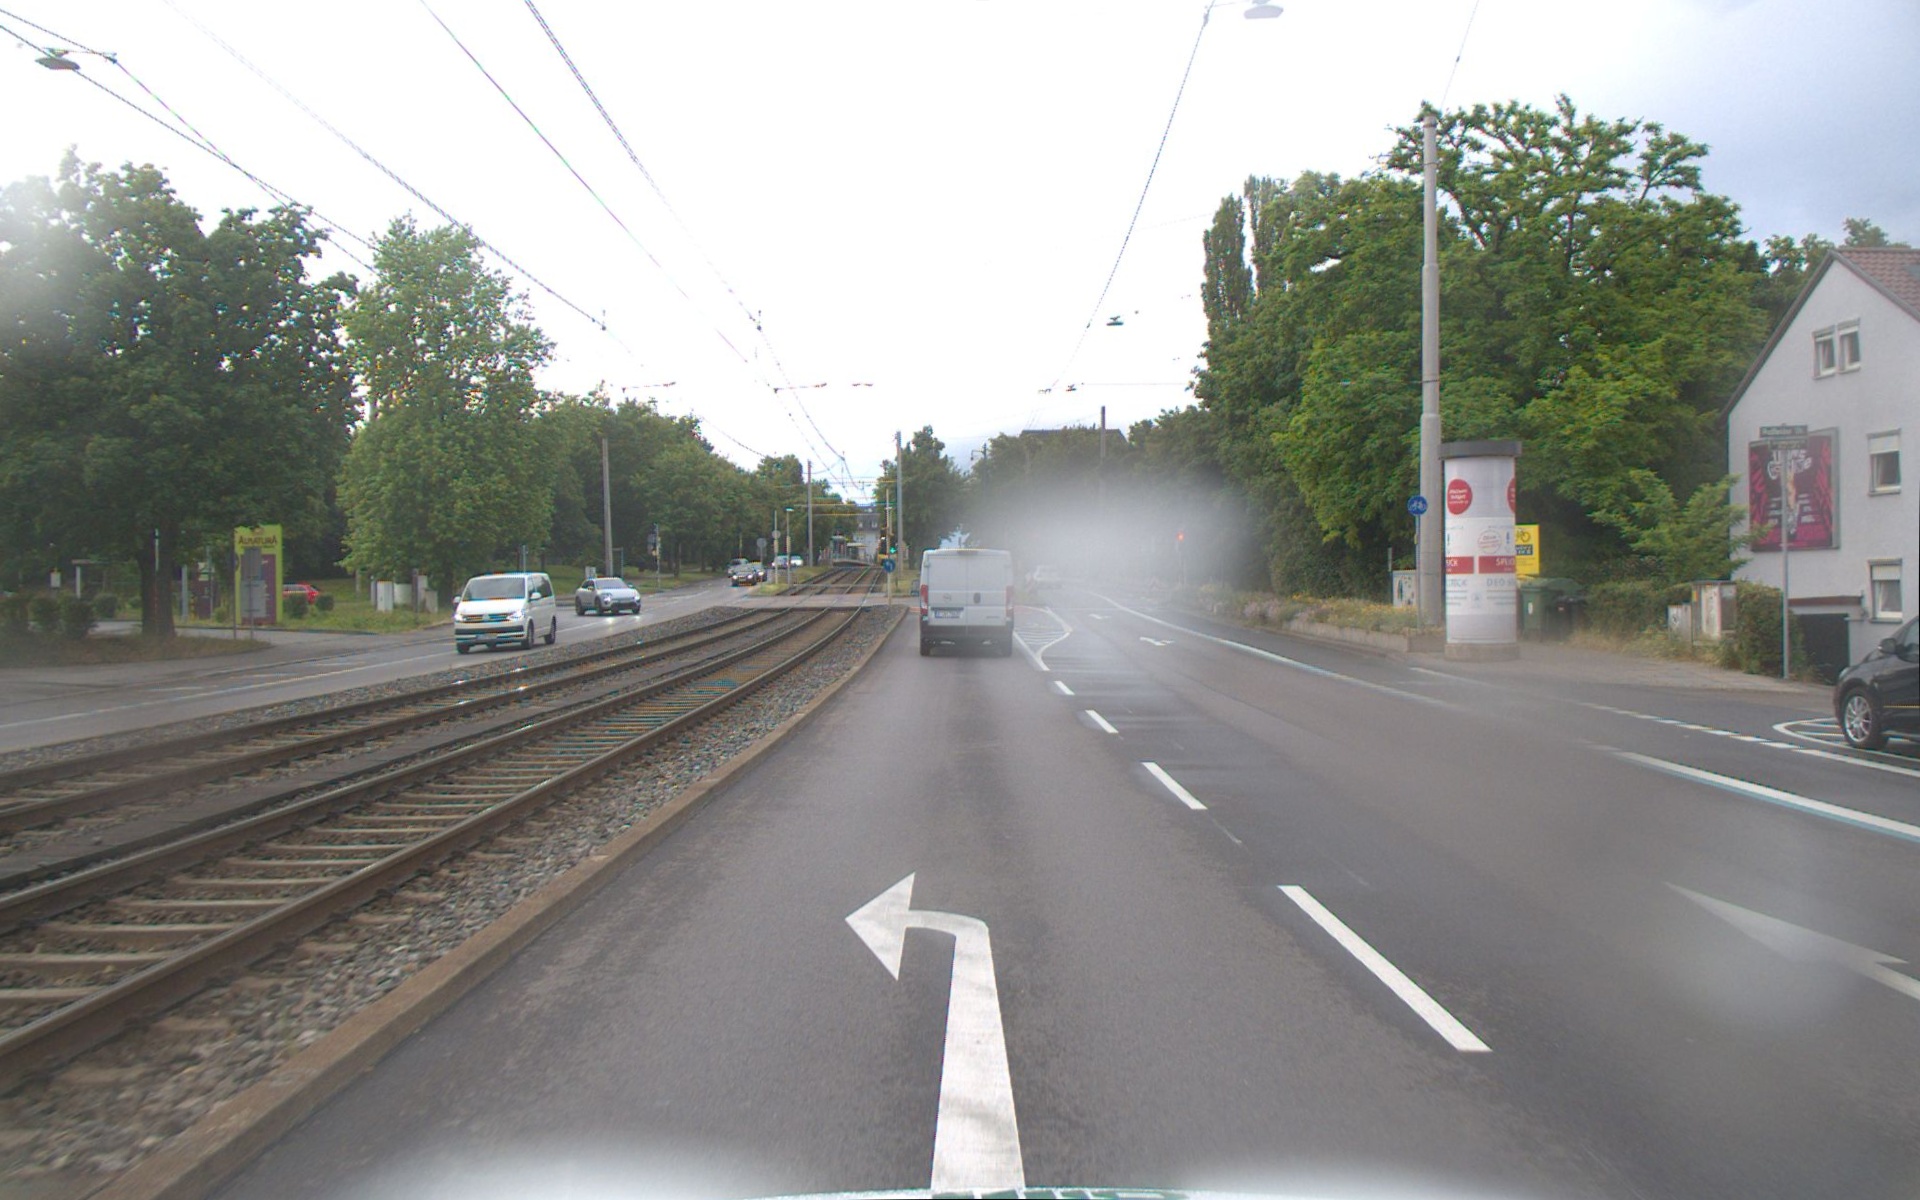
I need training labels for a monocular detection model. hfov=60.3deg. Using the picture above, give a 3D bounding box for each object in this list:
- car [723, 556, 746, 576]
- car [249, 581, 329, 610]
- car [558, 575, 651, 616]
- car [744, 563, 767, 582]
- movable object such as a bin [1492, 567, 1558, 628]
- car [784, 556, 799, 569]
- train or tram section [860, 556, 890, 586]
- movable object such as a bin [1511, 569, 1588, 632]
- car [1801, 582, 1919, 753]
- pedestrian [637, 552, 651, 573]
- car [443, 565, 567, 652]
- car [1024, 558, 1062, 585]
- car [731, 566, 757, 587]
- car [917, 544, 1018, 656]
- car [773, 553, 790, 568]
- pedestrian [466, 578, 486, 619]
[{"bbox_3d":[-20.533,-3.087,150.557,1.685,1.580,3.861,-3,3,-3],"label":"car"},{"bbox_3d":[-37.831,-0.253,93.325,3.895,1.560,1.838,0,0,-11],"label":"car"},{"bbox_3d":[-16.197,-0.185,75.204,1.984,1.678,4.686,-4,2,-42],"label":"car"},{"bbox_3d":[-16.085,-2.157,130.223,1.569,1.426,3.789,-1,0,-3],"label":"car"},{"bbox_3d":[13.626,-0.052,39.906,1.160,1.443,1.134,0,-1,-3],"label":"movable object such as a bin"},{"bbox_3d":[-19.803,-4.381,194.684,1.569,1.426,3.790,0,2,-3],"label":"car"},{"bbox_3d":[-12.372,-4.107,241.473,3.978,3.962,15.034,0,0,-1],"label":"train or tram section"},{"bbox_3d":[13.674,0.016,38.405,1.285,1.443,1.299,0,-1,-3],"label":"movable object such as a bin"},{"bbox_3d":[9.741,0.639,15.129,1.799,1.560,4.439,0,1,-1],"label":"car"},{"bbox_3d":[-25.114,-2.986,131.628,0.994,1.628,1.038,-1,2,-8],"label":"pedestrian"},{"bbox_3d":[-11.973,0.159,43.875,1.954,2.048,5.058,-3,1,-2],"label":"car"},{"bbox_3d":[5.214,-1.815,103.834,1.671,1.548,3.785,0,2,-8],"label":"car"},{"bbox_3d":[-15.659,-1.715,120.148,1.569,1.426,3.790,0,2,-3],"label":"car"},{"bbox_3d":[0.124,-0.051,36.889,2.102,2.323,5.062,0,1,-1],"label":"car"},{"bbox_3d":[-18.584,-4.133,172.563,1.569,1.426,3.790,0,2,-3],"label":"car"},{"bbox_3d":[-18.529,-0.066,63.301,0.579,1.559,0.668,0,-1,-2],"label":"pedestrian"}]
